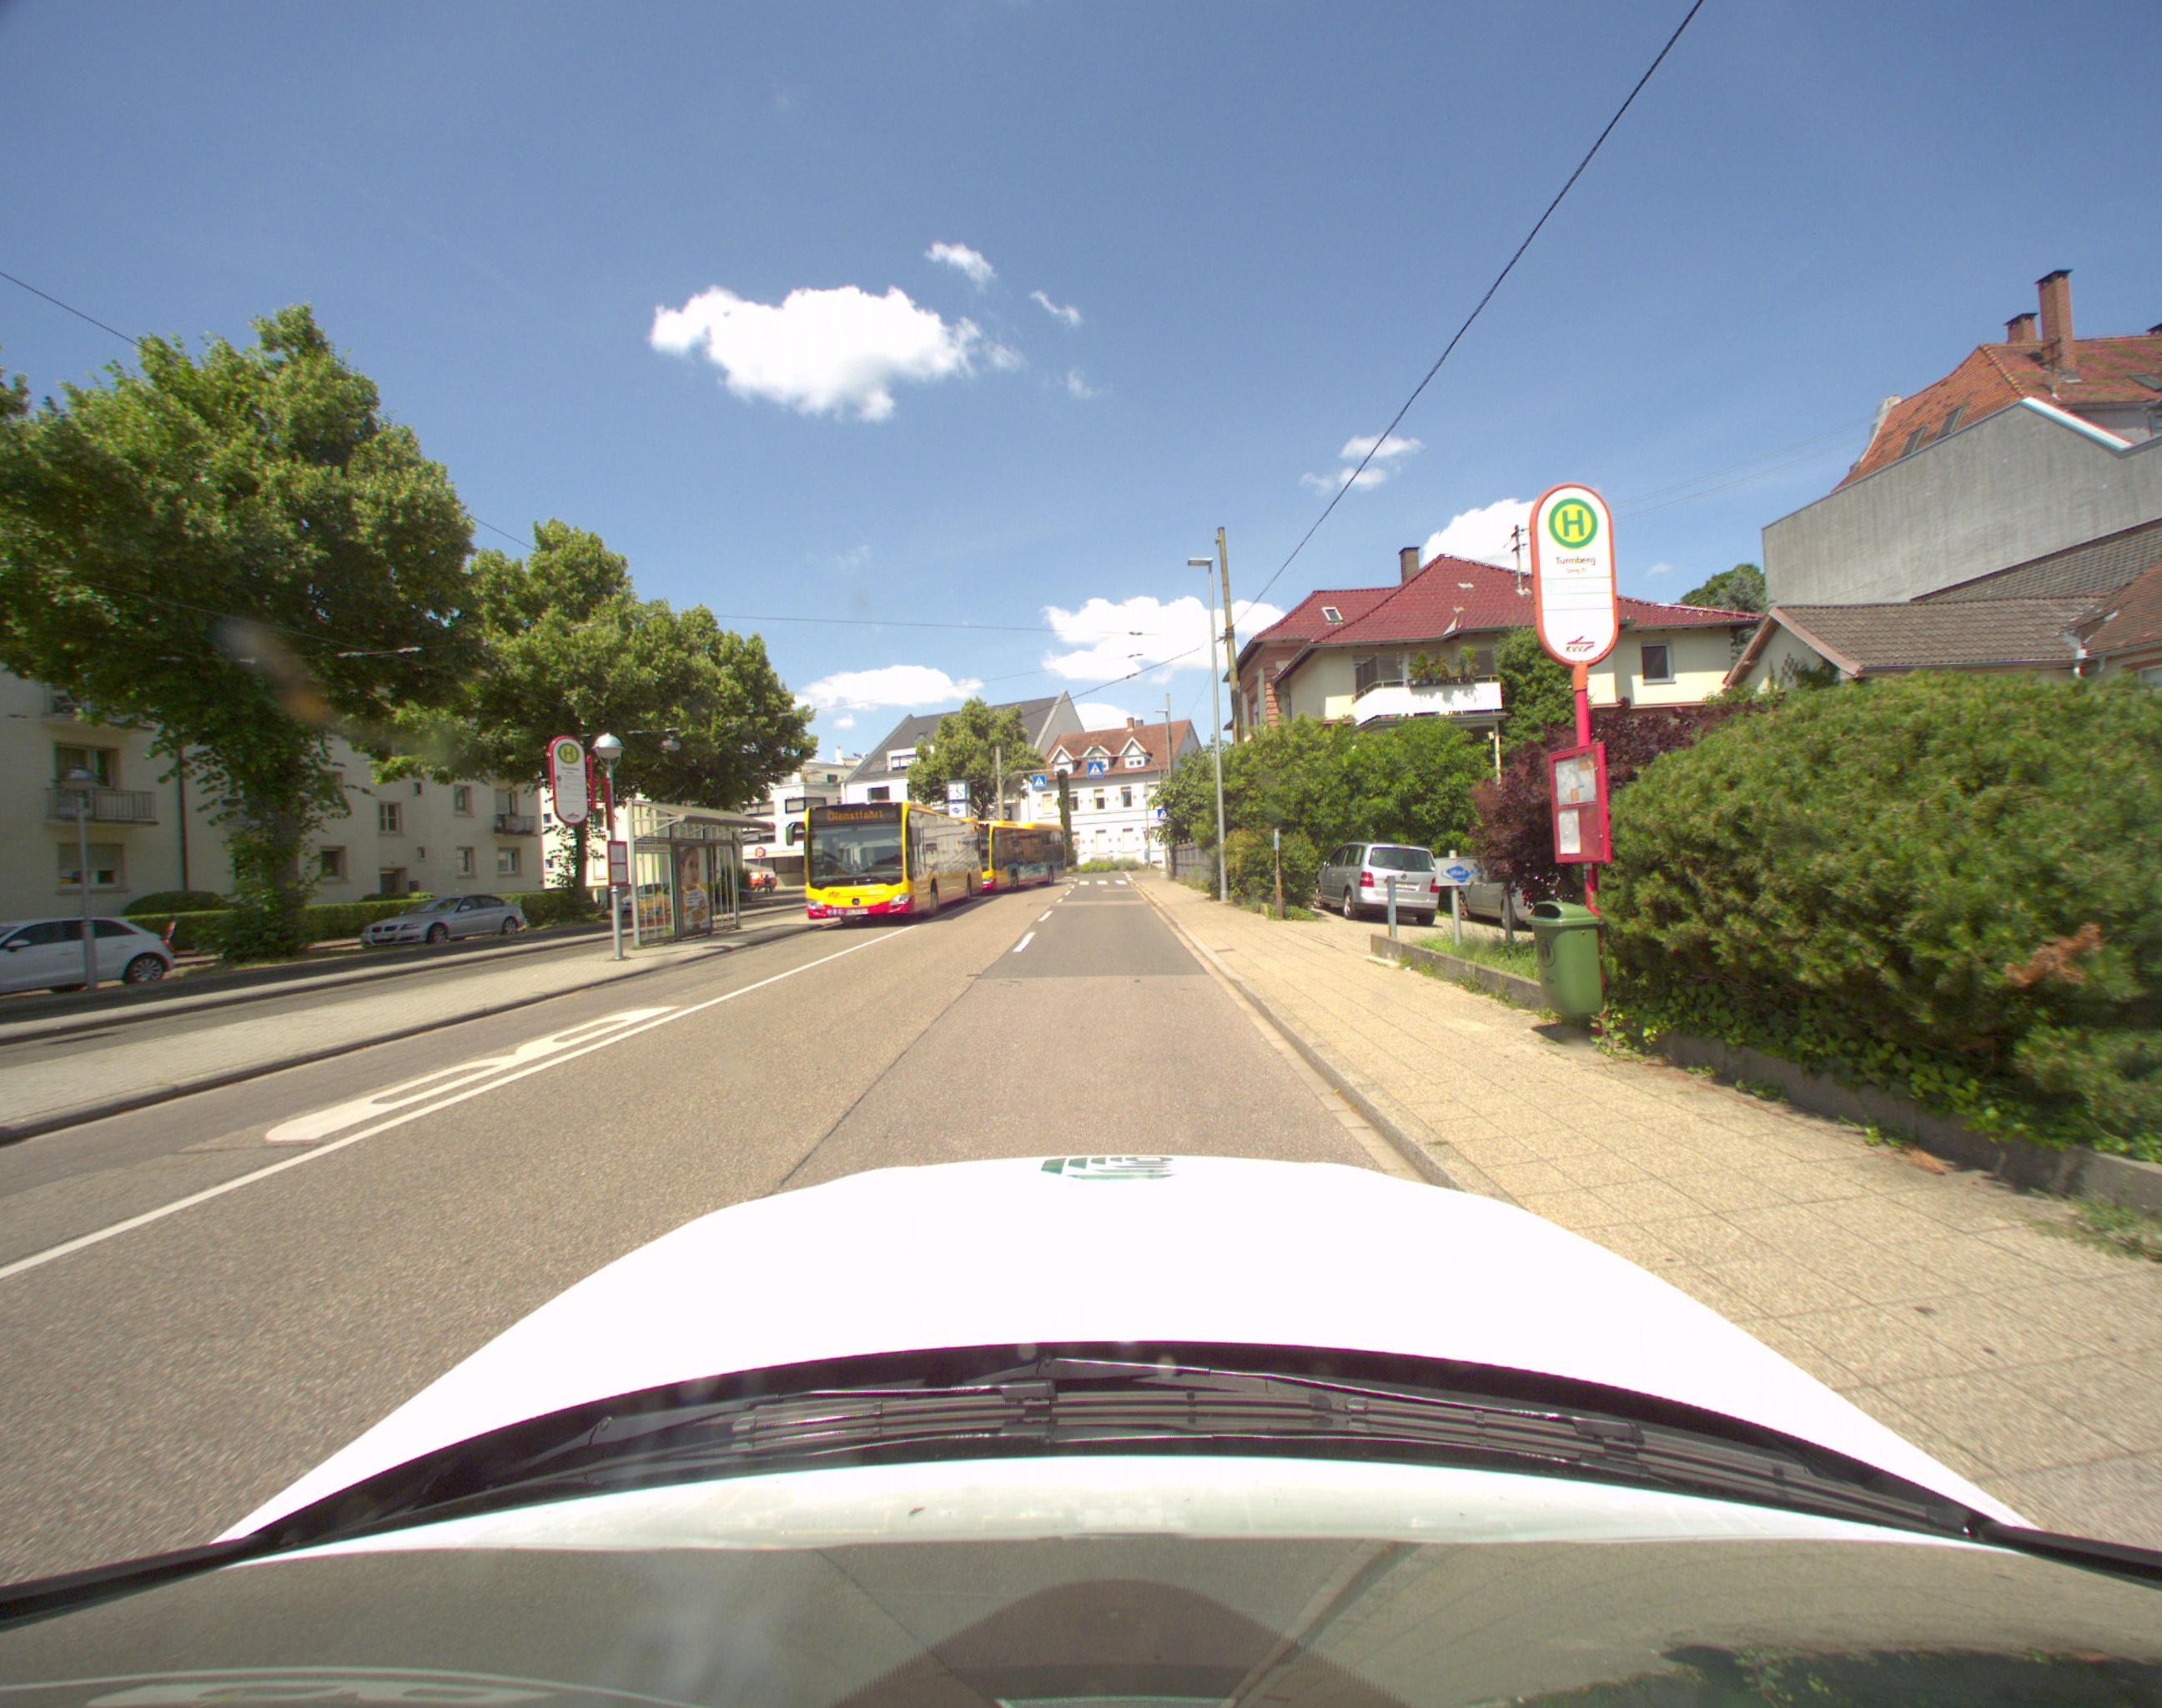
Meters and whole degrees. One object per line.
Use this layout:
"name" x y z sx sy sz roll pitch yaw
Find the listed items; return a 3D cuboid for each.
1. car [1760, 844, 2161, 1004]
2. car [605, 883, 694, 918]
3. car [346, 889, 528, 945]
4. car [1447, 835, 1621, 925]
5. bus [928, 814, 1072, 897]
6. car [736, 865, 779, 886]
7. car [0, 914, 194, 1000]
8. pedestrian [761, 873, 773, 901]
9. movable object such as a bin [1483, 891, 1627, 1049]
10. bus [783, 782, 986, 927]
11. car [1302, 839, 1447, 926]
"car" 10.166 0.725 8.805 4.115 1.425 1.724 3 0 3
"car" -18.139 1.923 34.431 1.710 1.319 3.996 -1 -2 -2
"car" -18.371 1.734 23.554 1.688 1.357 4.401 -1 -2 1
"car" 9.667 0.554 17.758 1.753 1.668 4.004 2 -1 4
"bus" -3.288 -0.014 38.188 2.760 3.208 12.351 -1 1 13
"car" -32.704 2.140 82.417 3.948 2.014 2.012 -2 -2 30
"car" -18.536 1.808 14.241 1.562 1.273 4.001 -1 -2 1
"pedestrian" -23.068 2.439 59.894 0.688 2.014 0.612 0 -2 -33
"movable object such as a bin" 3.087 0.726 5.362 0.405 0.907 0.729 -6 -1 -2
"bus" -5.186 0.069 24.597 2.897 3.248 12.120 -1 -1 1
"car" 6.231 0.604 17.781 1.754 1.628 4.000 2 -1 1
